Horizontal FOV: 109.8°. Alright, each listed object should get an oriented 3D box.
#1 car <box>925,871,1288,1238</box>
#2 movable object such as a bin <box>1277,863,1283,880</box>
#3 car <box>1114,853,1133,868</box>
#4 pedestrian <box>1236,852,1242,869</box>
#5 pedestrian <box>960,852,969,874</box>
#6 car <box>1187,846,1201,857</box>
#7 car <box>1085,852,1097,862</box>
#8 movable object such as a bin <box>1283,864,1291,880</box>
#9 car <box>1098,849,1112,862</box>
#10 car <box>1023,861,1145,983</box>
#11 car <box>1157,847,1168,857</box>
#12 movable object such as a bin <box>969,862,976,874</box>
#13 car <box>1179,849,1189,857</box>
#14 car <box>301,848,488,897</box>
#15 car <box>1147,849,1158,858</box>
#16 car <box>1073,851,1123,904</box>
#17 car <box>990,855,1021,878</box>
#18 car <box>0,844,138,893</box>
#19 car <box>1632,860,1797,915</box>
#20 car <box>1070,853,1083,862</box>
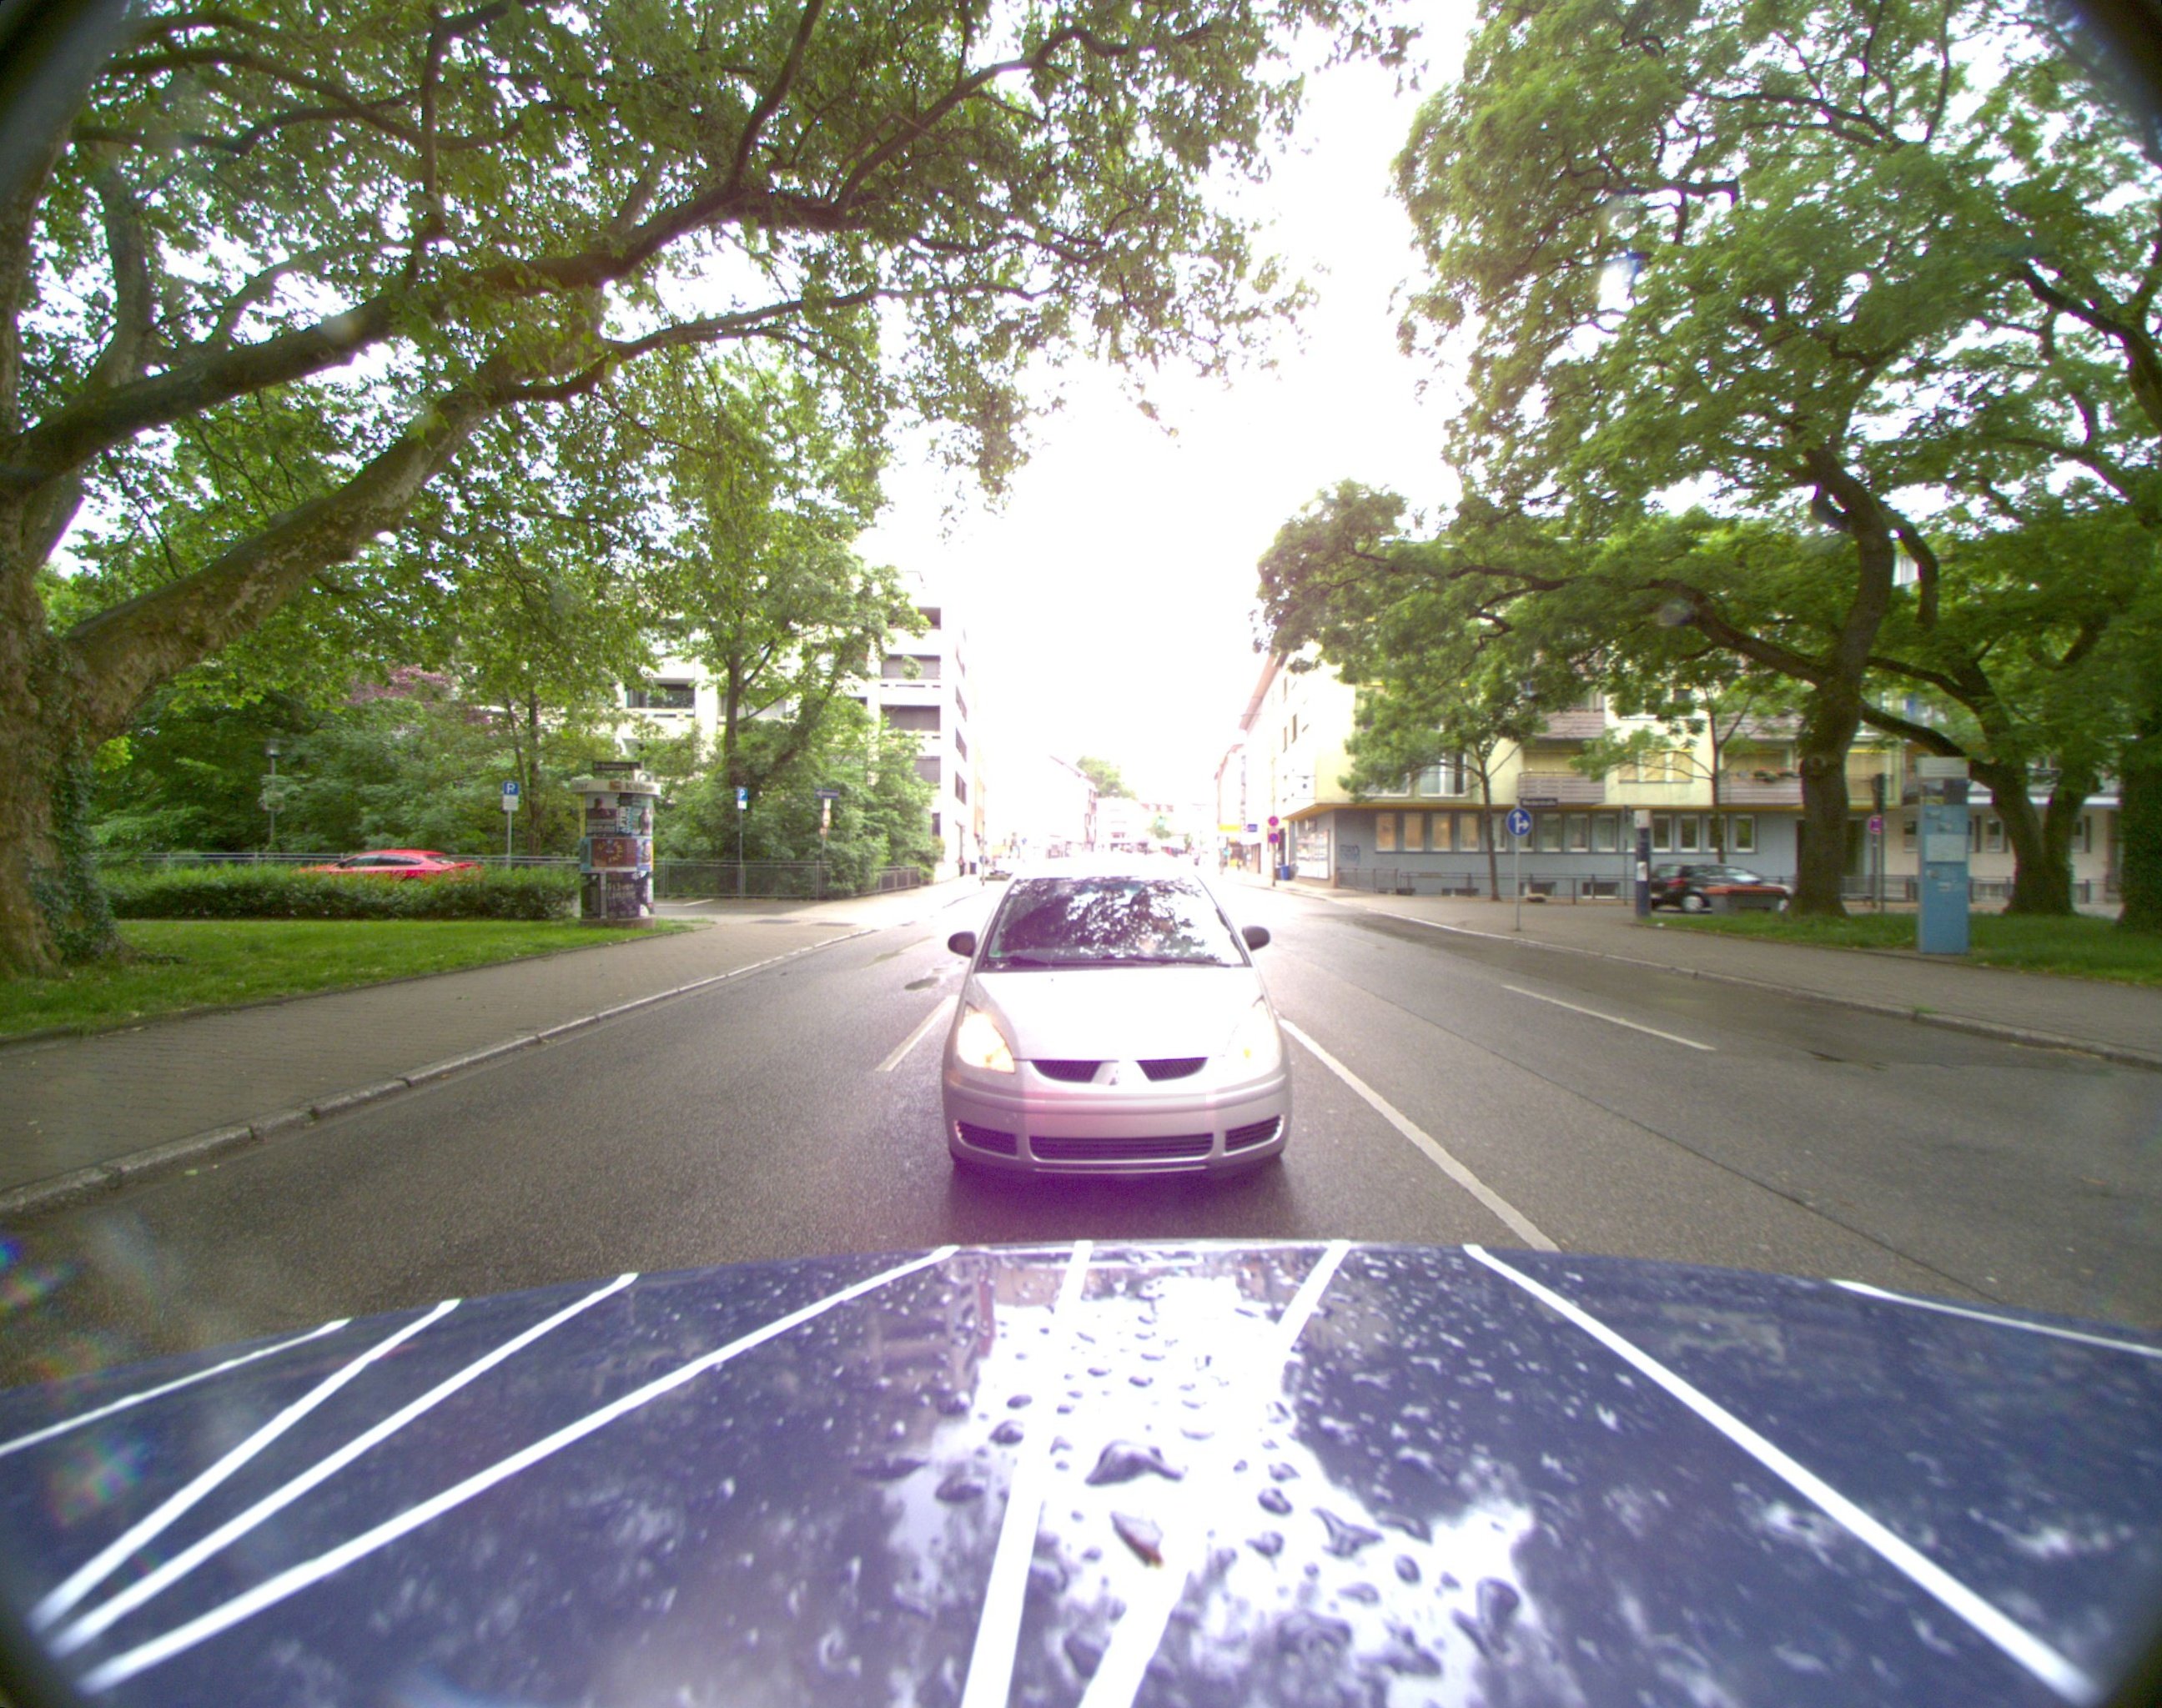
[{"bbox_3d":[0.138,0.929,4.989,1.576,1.514,3.241,-1,0,1],"label":"car"},{"bbox_3d":[12.681,1.108,48.421,0.338,1.023,0.353,1,1,8],"label":"movable object such as a bin"},{"bbox_3d":[4.181,0.657,74.920,1.701,1.433,3.897,1,0,1],"label":"car"},{"bbox_3d":[17.516,0.694,84.080,0.594,1.833,0.565,1,1,8],"label":"pedestrian"},{"bbox_3d":[-8.233,0.657,53.825,0.480,1.521,0.481,-2,1,1],"label":"pedestrian"},{"bbox_3d":[18.013,-0.335,121.423,1.889,1.707,4.001,1,0,4],"label":"car"},{"bbox_3d":[1.580,0.434,120.023,1.802,1.433,3.897,1,0,1],"label":"car"},{"bbox_3d":[13.077,1.159,48.222,0.415,1.023,0.353,1,1,8],"label":"movable object such as a bin"},{"bbox_3d":[3.578,0.198,113.237,1.935,1.817,3.999,-2,1,0],"label":"car"},{"bbox_3d":[0.114,0.920,11.926,1.590,1.540,3.771,1,0,2],"label":"car"},{"bbox_3d":[16.317,-0.422,152.670,1.998,1.841,4.001,1,0,4],"label":"car"},{"bbox_3d":[-8.989,1.161,62.943,0.556,1.035,0.292,1,1,0],"label":"movable object such as a bin"},{"bbox_3d":[20.709,-0.187,152.984,1.867,1.648,4.001,1,0,4],"label":"car"},{"bbox_3d":[-19.422,0.513,21.617,3.790,1.271,1.576,1,1,-3],"label":"car"},{"bbox_3d":[12.844,-0.079,136.553,1.998,1.631,4.001,1,0,4],"label":"car"},{"bbox_3d":[0.548,0.756,26.326,1.584,1.705,3.649,1,0,0],"label":"car"},{"bbox_3d":[-5.310,0.856,53.516,1.681,1.424,3.681,3,0,1],"label":"car"},{"bbox_3d":[-29.159,0.390,21.272,3.468,1.271,1.448,1,1,-5],"label":"car"},{"bbox_3d":[18.702,0.974,22.544,3.564,1.480,1.572,1,1,-1],"label":"car"},{"bbox_3d":[-0.671,0.508,113.428,1.802,1.433,3.896,1,0,0],"label":"car"}]
